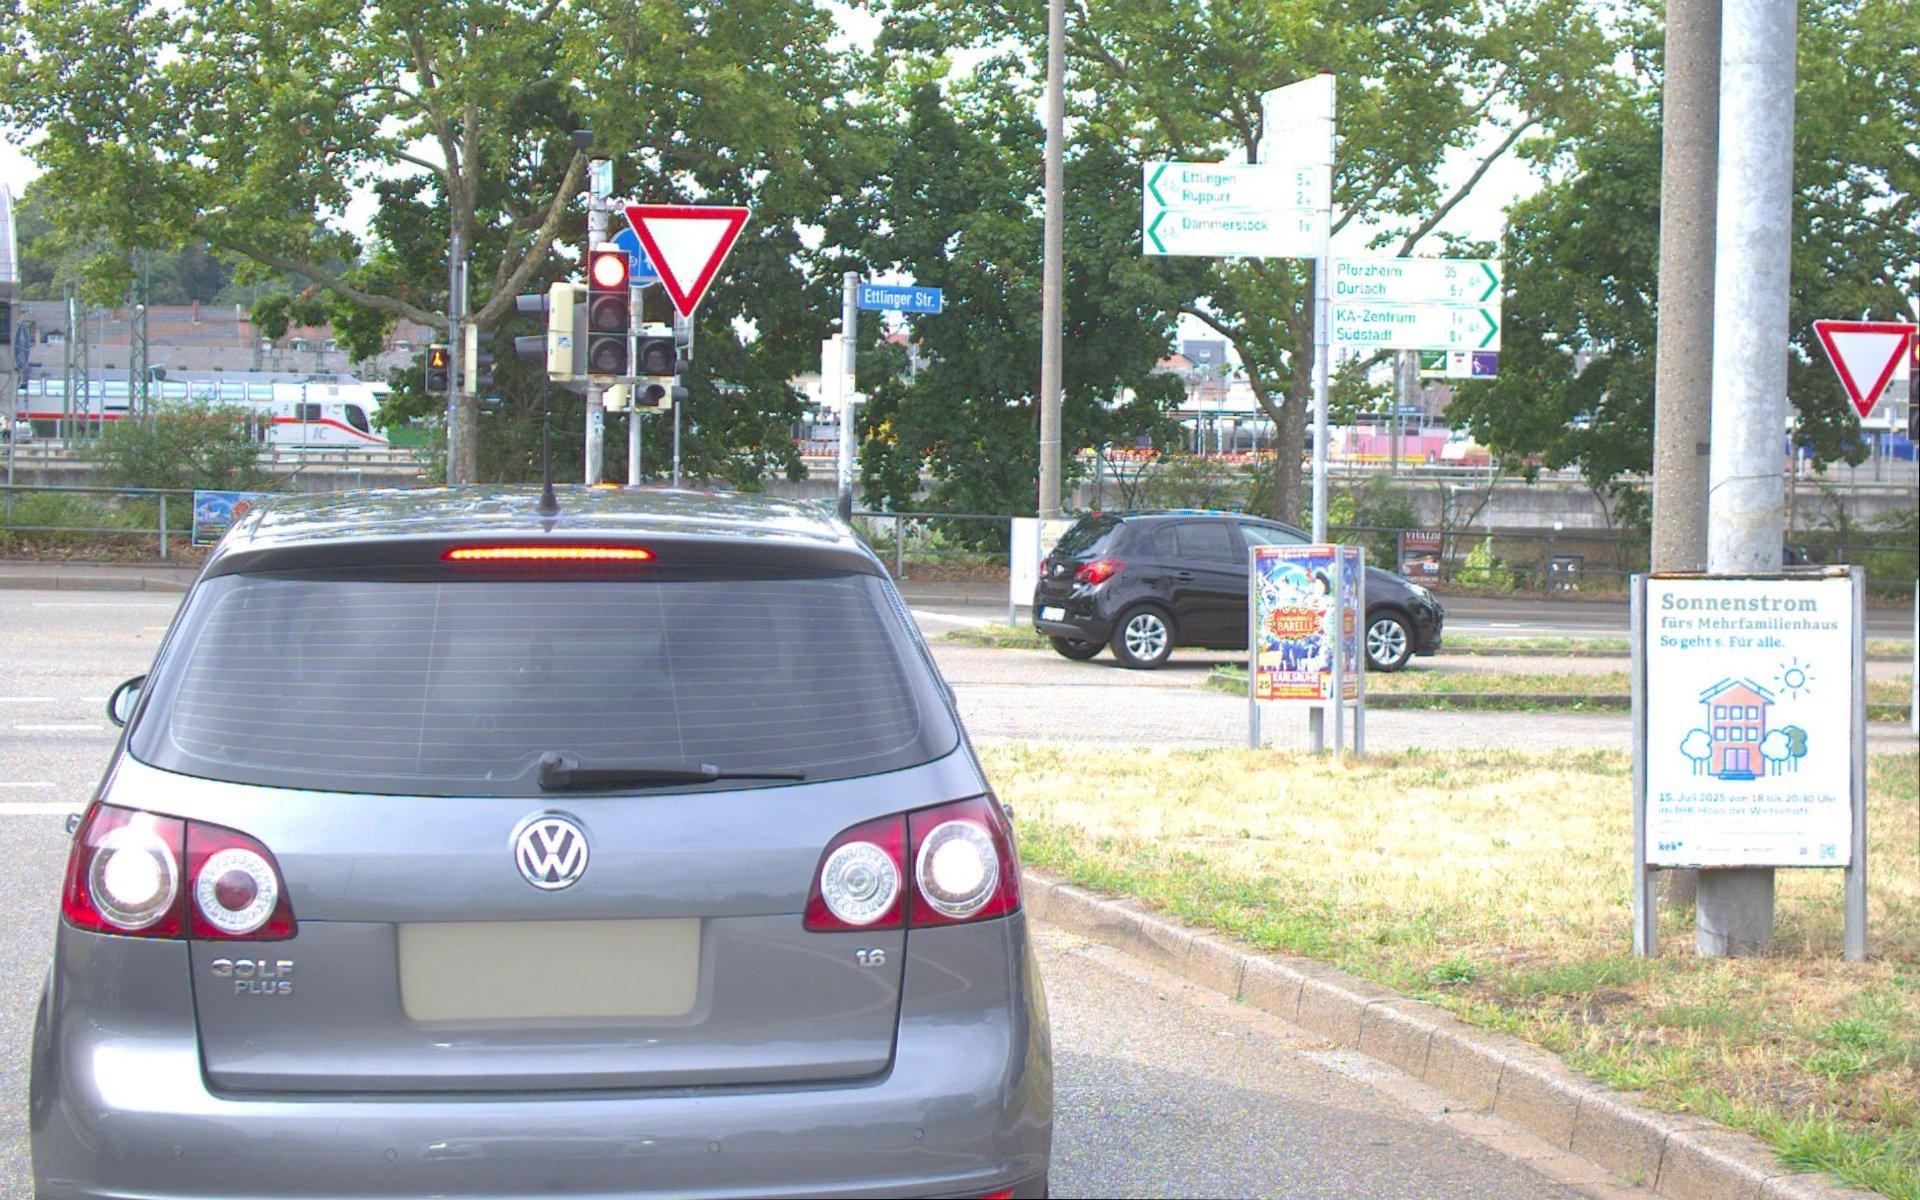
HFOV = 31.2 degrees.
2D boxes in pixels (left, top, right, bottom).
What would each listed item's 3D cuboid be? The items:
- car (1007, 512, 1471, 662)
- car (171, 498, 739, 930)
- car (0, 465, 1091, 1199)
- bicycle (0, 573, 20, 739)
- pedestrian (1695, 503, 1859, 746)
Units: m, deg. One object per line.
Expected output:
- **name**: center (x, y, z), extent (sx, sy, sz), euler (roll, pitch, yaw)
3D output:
- **car**: center (2.653, -0.127, 32.839), extent (4.056, 1.363, 1.703), euler (0, 1, -19)
- **car**: center (-2.193, 0.346, 13.947), extent (1.740, 1.477, 4.083), euler (0, 1, -16)
- **car**: center (-0.963, 0.530, 7.230), extent (1.740, 1.541, 4.083), euler (1, 1, -8)
- **bicycle**: center (-6.664, 0.323, 20.062), extent (2.227, 0.949, 0.812), euler (0, 2, -19)
- **pedestrian**: center (5.969, 0.160, 25.090), extent (1.048, 1.704, 0.853), euler (2, 2, 17)
